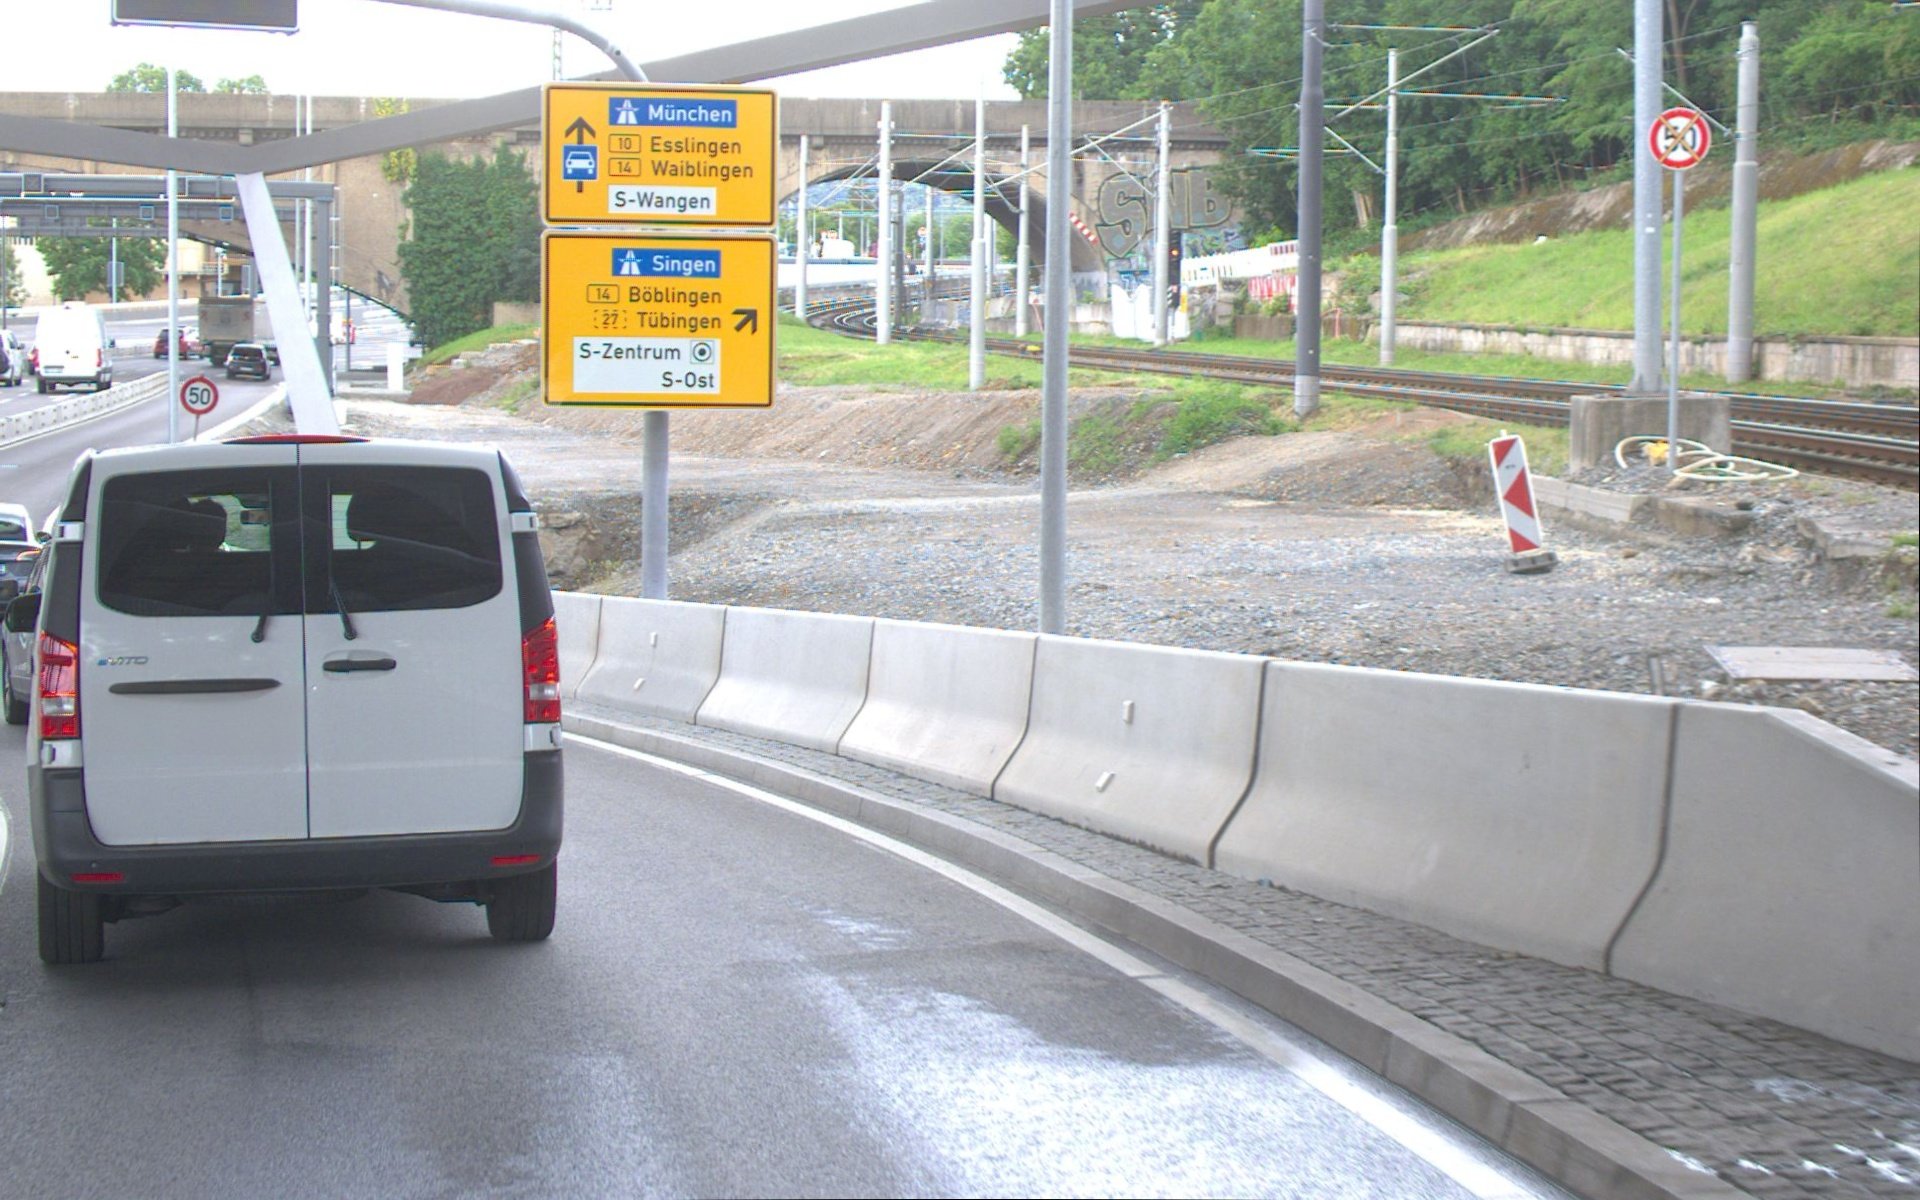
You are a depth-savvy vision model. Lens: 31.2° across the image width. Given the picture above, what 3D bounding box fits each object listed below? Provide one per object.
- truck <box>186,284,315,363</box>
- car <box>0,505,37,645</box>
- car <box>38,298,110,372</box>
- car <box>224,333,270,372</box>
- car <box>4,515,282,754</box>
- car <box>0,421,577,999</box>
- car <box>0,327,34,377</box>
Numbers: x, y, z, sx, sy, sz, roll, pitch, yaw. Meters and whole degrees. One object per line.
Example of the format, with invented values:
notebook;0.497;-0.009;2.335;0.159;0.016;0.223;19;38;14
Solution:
truck;-33.318;-12.942;161.636;3.396;3.138;7.254;4;2;9
car;-11.544;-0.343;39.904;1.500;1.464;3.400;2;2;-16
car;-27.069;-8.084;105.109;1.897;2.108;4.487;1;3;-12
car;-30.686;-10.652;147.940;1.623;1.579;4.002;1;3;-8
car;-6.456;0.208;26.896;1.749;1.619;3.846;0;3;-19
car;-2.785;0.308;13.870;1.875;1.884;4.754;-1;1;-13
car;-31.790;-8.187;113.479;1.645;1.614;4.001;2;3;-5
